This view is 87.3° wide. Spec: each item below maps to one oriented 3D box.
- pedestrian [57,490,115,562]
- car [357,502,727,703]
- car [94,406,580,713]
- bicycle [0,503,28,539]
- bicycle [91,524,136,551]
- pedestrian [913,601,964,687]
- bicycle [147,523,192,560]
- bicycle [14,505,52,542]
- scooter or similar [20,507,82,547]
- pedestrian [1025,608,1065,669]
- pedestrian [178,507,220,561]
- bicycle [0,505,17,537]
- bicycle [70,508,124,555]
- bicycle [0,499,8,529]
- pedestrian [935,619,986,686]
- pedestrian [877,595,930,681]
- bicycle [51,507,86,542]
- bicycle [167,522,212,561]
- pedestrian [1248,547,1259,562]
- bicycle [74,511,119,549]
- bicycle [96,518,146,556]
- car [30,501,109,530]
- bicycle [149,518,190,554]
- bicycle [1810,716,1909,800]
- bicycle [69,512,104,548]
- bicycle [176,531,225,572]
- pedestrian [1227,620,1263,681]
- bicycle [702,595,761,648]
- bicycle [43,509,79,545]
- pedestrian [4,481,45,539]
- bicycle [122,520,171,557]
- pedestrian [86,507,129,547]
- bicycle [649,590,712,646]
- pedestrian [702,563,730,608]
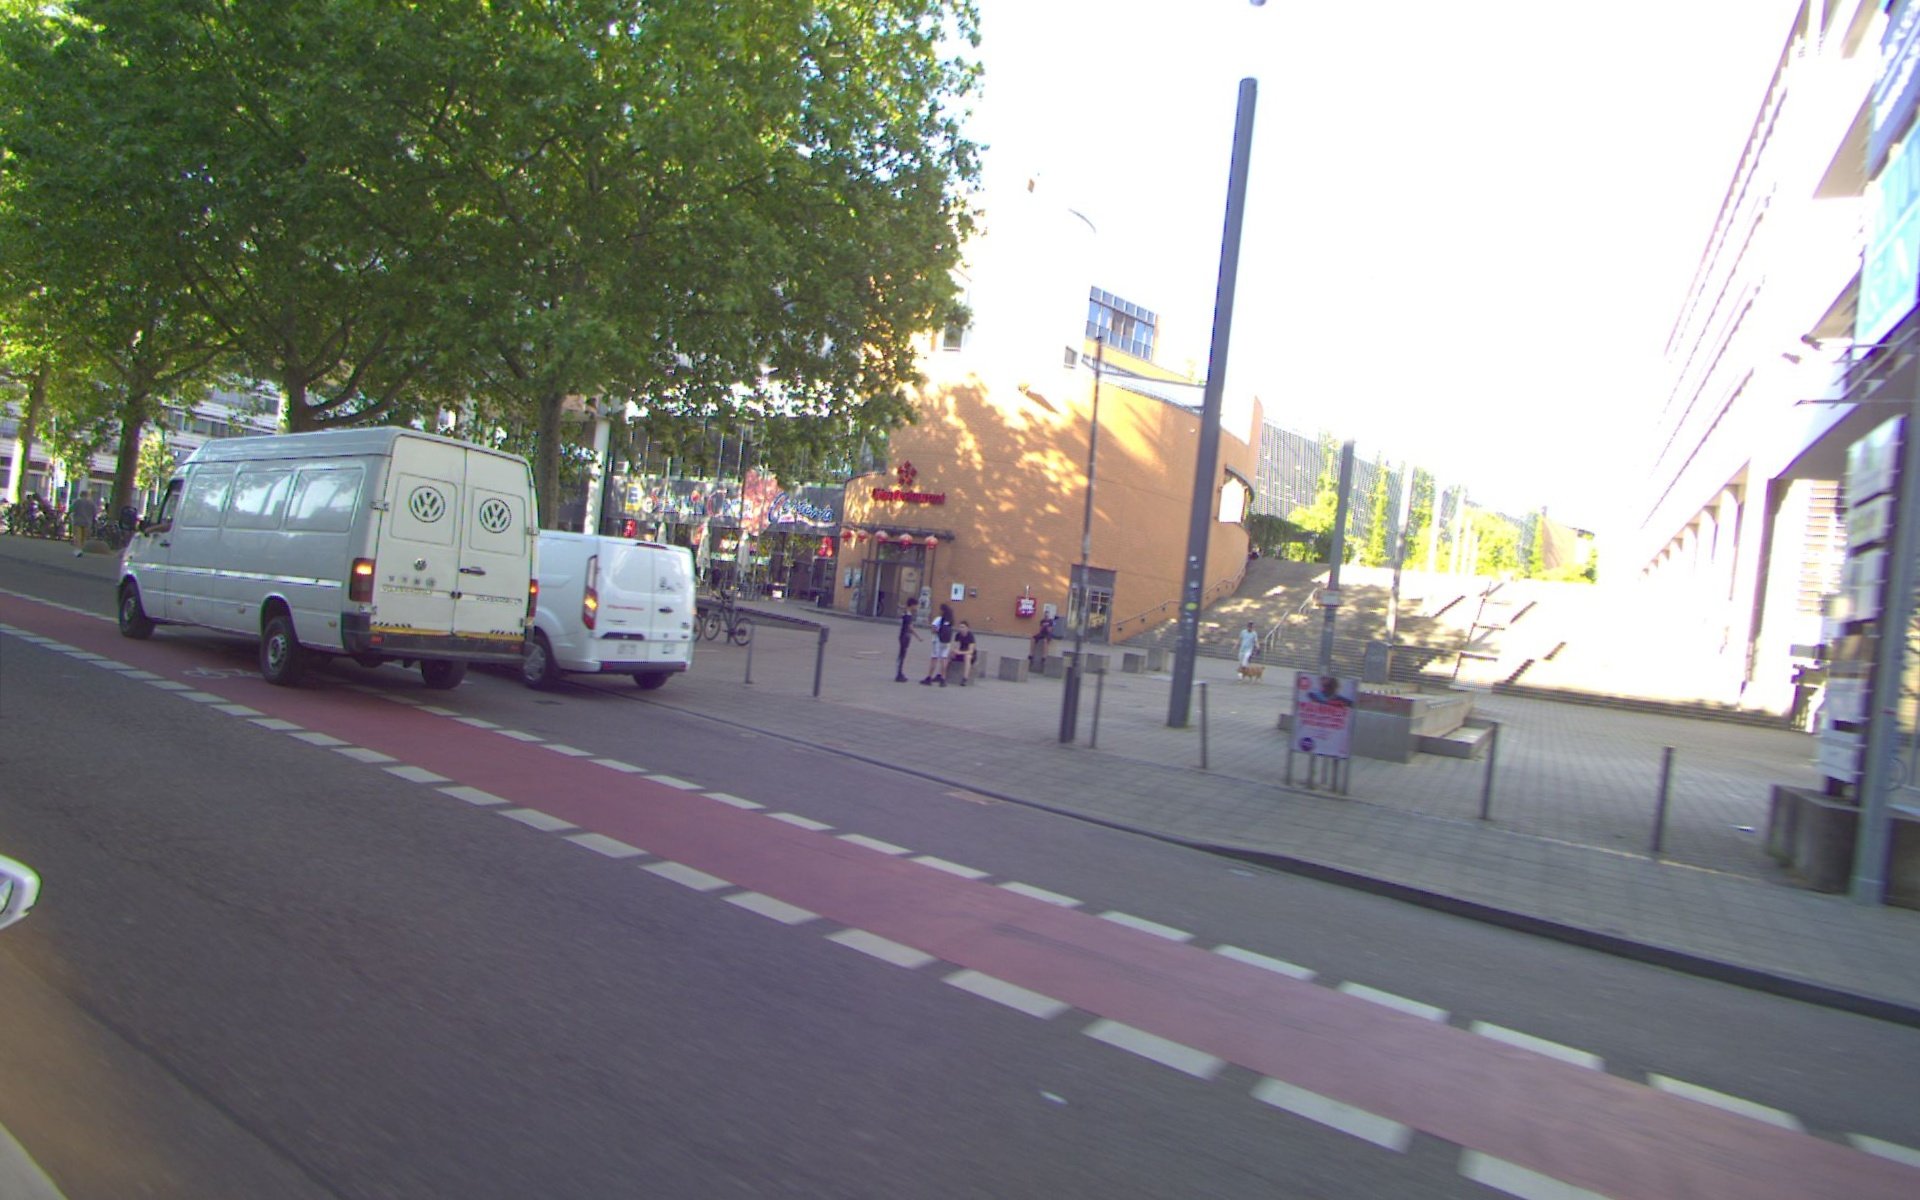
[{"bbox_3d":[-23.803,-2.015,27.405,0.795,1.808,0.873,7,1,29],"label":"pedestrian"},{"bbox_3d":[-5.962,-0.034,14.100,5.204,2.161,2.124,7,0,34],"label":"car"},{"bbox_3d":[-7.414,-0.566,11.605,6.455,2.756,1.996,6,-1,33],"label":"car"},{"bbox_3d":[-32.221,-2.686,34.084,0.591,1.130,1.809,6,0,-34],"label":"bicycle"},{"bbox_3d":[-29.221,-2.148,34.743,1.101,0.770,0.396,7,0,-34],"label":"bicycle"},{"bbox_3d":[-0.399,0.831,18.898,0.626,1.542,0.515,7,1,38],"label":"pedestrian"},{"bbox_3d":[-26.372,-1.952,33.549,1.626,1.044,0.503,7,1,28],"label":"bicycle"},{"bbox_3d":[-31.417,-2.594,34.112,0.591,1.130,1.931,6,0,-34],"label":"bicycle"},{"bbox_3d":[-32.365,-2.587,35.833,0.899,1.154,1.260,5,-4,15],"label":"scooter or similar"},{"bbox_3d":[2.150,0.982,25.485,0.591,1.474,0.712,7,1,31],"label":"pedestrian"},{"bbox_3d":[-27.030,-2.332,35.751,0.757,1.779,0.819,7,1,27],"label":"pedestrian"},{"bbox_3d":[-34.779,-2.905,36.364,1.547,1.070,0.628,7,1,34],"label":"bicycle"},{"bbox_3d":[-27.293,-2.161,31.796,1.844,1.280,0.596,7,1,28],"label":"bicycle"},{"bbox_3d":[-43.841,-3.957,45.520,1.854,1.303,0.451,7,1,27],"label":"bicycle"},{"bbox_3d":[0.016,1.050,19.934,0.666,1.236,0.614,7,1,35],"label":"pedestrian"},{"bbox_3d":[-1.072,0.727,19.131,0.628,1.562,0.576,7,1,38],"label":"pedestrian"},{"bbox_3d":[-33.988,-2.881,38.335,1.450,1.174,0.421,7,1,27],"label":"bicycle"},{"bbox_3d":[-26.095,-1.976,34.074,1.626,1.151,0.503,7,1,28],"label":"bicycle"},{"bbox_3d":[17.652,-2.739,60.532,0.508,0.834,0.437,7,5,25],"label":"pedestrian"},{"bbox_3d":[-30.884,-2.503,35.974,1.449,1.174,0.479,7,1,20],"label":"bicycle"},{"bbox_3d":[-27.034,-2.018,32.413,1.626,1.044,0.596,7,1,28],"label":"bicycle"},{"bbox_3d":[-69.582,-6.593,78.671,1.767,1.579,4.243,7,0,34],"label":"car"},{"bbox_3d":[-29.723,-2.409,37.834,1.449,1.174,0.422,7,1,20],"label":"bicycle"},{"bbox_3d":[14.219,2.472,15.958,0.688,1.077,1.877,7,0,30],"label":"bicycle"},{"bbox_3d":[-30.322,-2.423,34.951,0.602,1.130,1.809,6,0,-34],"label":"bicycle"},{"bbox_3d":[-21.512,-1.382,28.477,1.733,0.993,0.451,7,1,32],"label":"bicycle"},{"bbox_3d":[8.356,1.490,29.483,0.711,1.697,0.539,7,1,31],"label":"pedestrian"},{"bbox_3d":[-5.444,0.512,23.929,1.488,1.091,0.458,7,1,40],"label":"bicycle"},{"bbox_3d":[-30.827,-2.512,34.510,0.591,1.130,1.809,6,0,-34],"label":"bicycle"},{"bbox_3d":[-31.658,-3.036,34.045,0.801,1.808,0.651,6,1,-36],"label":"pedestrian"},{"bbox_3d":[-26.690,-2.019,33.014,1.626,1.044,0.596,7,1,28],"label":"bicycle"},{"bbox_3d":[-44.169,-3.777,52.151,1.023,1.843,1.213,6,-1,23],"label":"pedestrian"},{"bbox_3d":[-6.397,0.404,22.986,1.458,1.091,0.551,7,0,40],"label":"bicycle"},{"bbox_3d":[-10.782,-0.626,44.461,0.985,1.867,0.848,6,1,-17],"label":"pedestrian"}]
